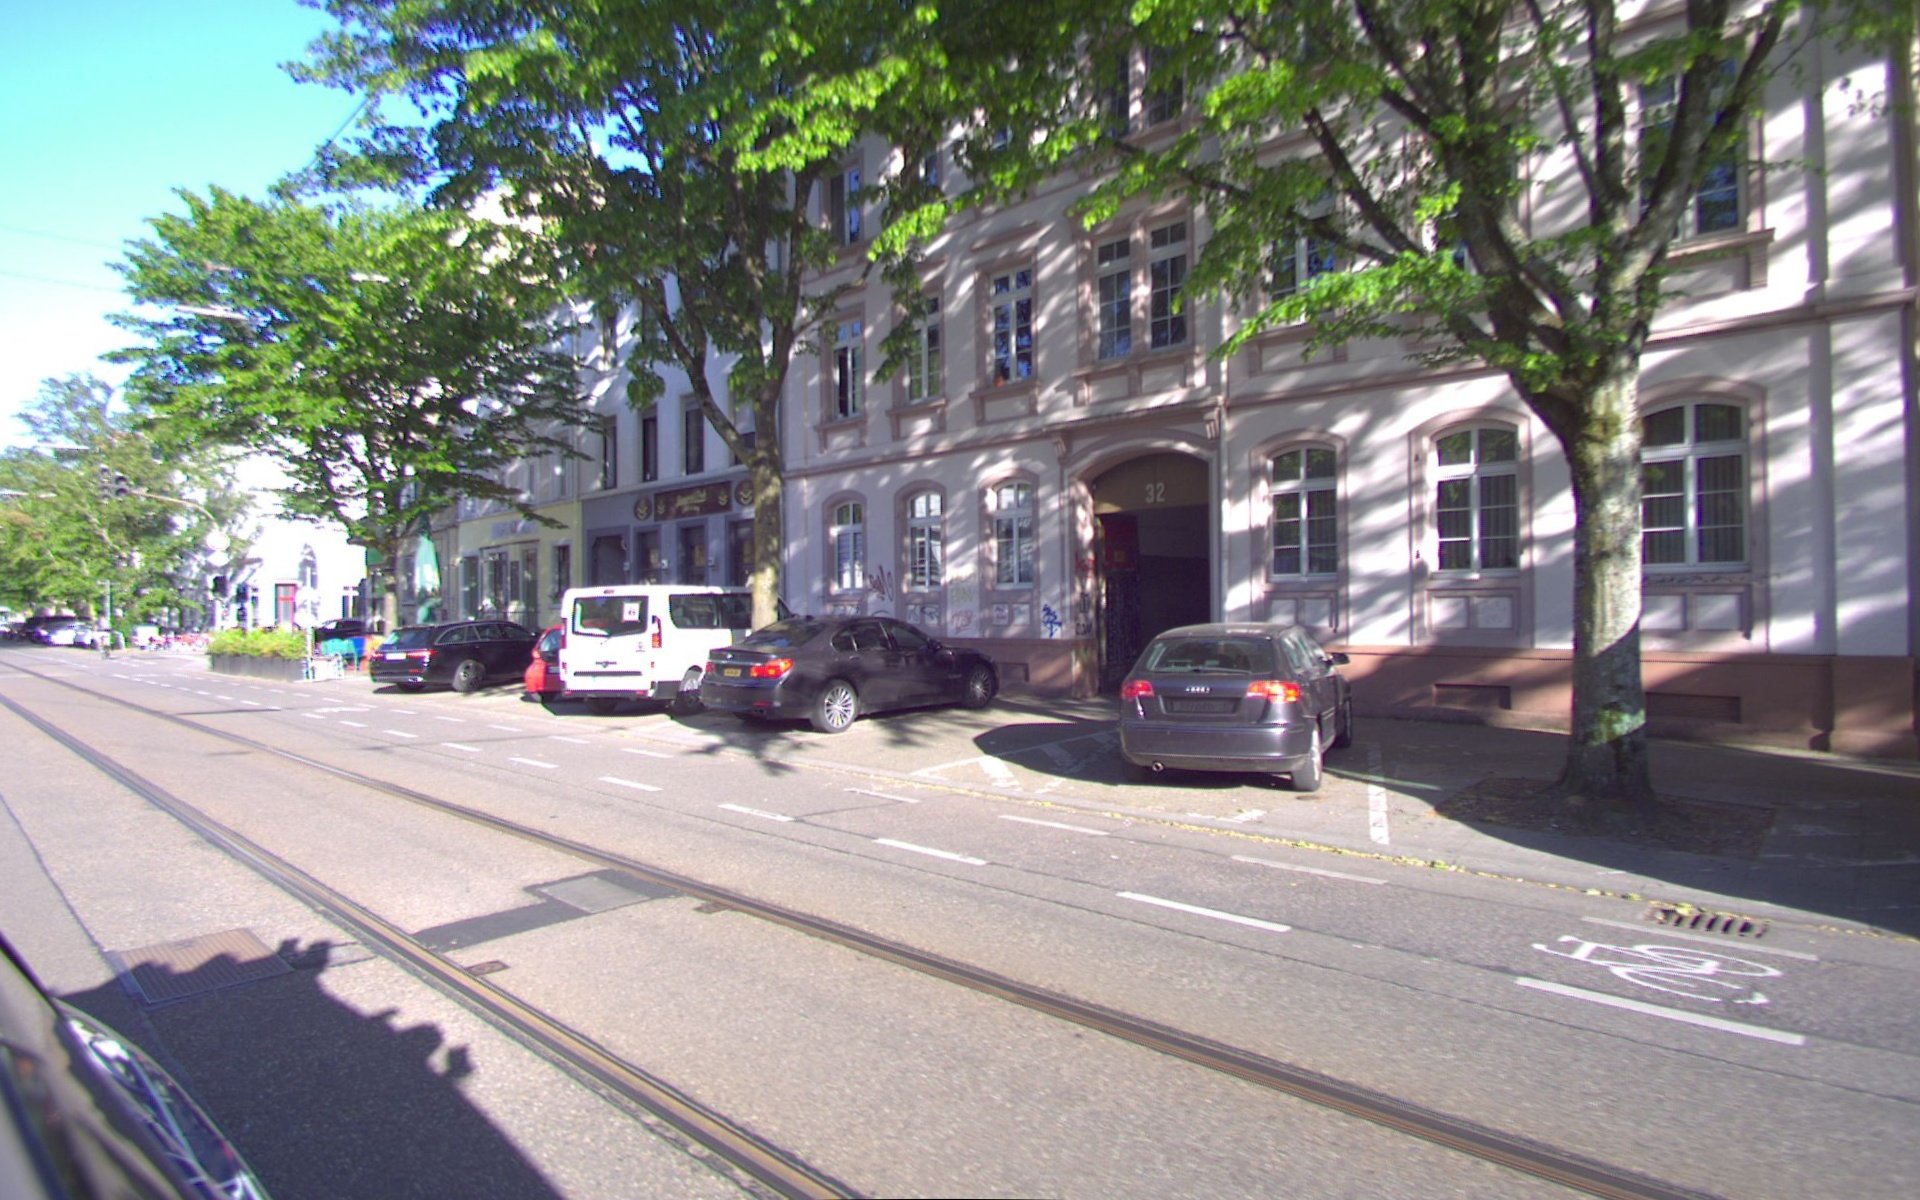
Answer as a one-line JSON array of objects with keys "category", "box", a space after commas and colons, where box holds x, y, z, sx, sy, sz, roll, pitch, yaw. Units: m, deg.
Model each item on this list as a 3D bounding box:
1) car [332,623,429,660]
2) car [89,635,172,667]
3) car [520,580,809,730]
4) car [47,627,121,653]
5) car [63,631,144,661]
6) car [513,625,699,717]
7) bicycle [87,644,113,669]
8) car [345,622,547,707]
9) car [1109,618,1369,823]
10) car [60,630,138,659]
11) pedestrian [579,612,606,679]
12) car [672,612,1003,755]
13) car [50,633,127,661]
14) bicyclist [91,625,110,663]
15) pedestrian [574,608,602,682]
[{"category": "car", "box": [-28.626, 2.059, 50.023, 3.934, 1.763, 2.005, 2, -3, -35]}, {"category": "car", "box": [-42.817, 2.627, 52.291, 3.288, 1.464, 1.498, 0, 0, -41]}, {"category": "car", "box": [-4.519, 0.822, 16.446, 2.059, 2.029, 4.909, -1, -2, 19]}, {"category": "car", "box": [-53.467, 2.424, 61.804, 1.497, 1.464, 3.291, 0, 0, 45]}, {"category": "car", "box": [-47.063, 2.527, 55.644, 1.497, 1.464, 3.292, 0, 0, 44]}, {"category": "car", "box": [-6.521, 1.267, 18.972, 1.485, 1.464, 3.317, -2, 0, 21]}, {"category": "bicycle", "box": [-33.674, 2.214, 39.632, 1.756, 0.943, 0.445, -2, -3, 39]}, {"category": "car", "box": [-10.882, 1.300, 21.773, 1.763, 1.570, 3.984, -1, 0, 13]}, {"category": "car", "box": [2.916, 0.959, 9.917, 1.662, 1.464, 4.062, -1, 0, 27]}, {"category": "car", "box": [-48.756, 2.506, 57.340, 1.497, 1.464, 3.291, 0, 0, 45]}, {"category": "pedestrian", "box": [-10.174, 1.251, 28.010, 0.510, 1.825, 0.481, -2, -3, 44]}, {"category": "car", "box": [-1.543, 1.031, 14.375, 1.952, 1.588, 4.650, -2, -1, 38]}, {"category": "car", "box": [-50.672, 2.693, 58.897, 1.497, 1.464, 3.291, 0, 0, 45]}, {"category": "bicyclist", "box": [-33.761, 1.740, 39.742, 0.590, 1.482, 0.414, -2, -3, 38]}, {"category": "pedestrian", "box": [-9.742, 1.179, 26.487, 0.591, 1.900, 0.448, -2, -3, 43]}]
